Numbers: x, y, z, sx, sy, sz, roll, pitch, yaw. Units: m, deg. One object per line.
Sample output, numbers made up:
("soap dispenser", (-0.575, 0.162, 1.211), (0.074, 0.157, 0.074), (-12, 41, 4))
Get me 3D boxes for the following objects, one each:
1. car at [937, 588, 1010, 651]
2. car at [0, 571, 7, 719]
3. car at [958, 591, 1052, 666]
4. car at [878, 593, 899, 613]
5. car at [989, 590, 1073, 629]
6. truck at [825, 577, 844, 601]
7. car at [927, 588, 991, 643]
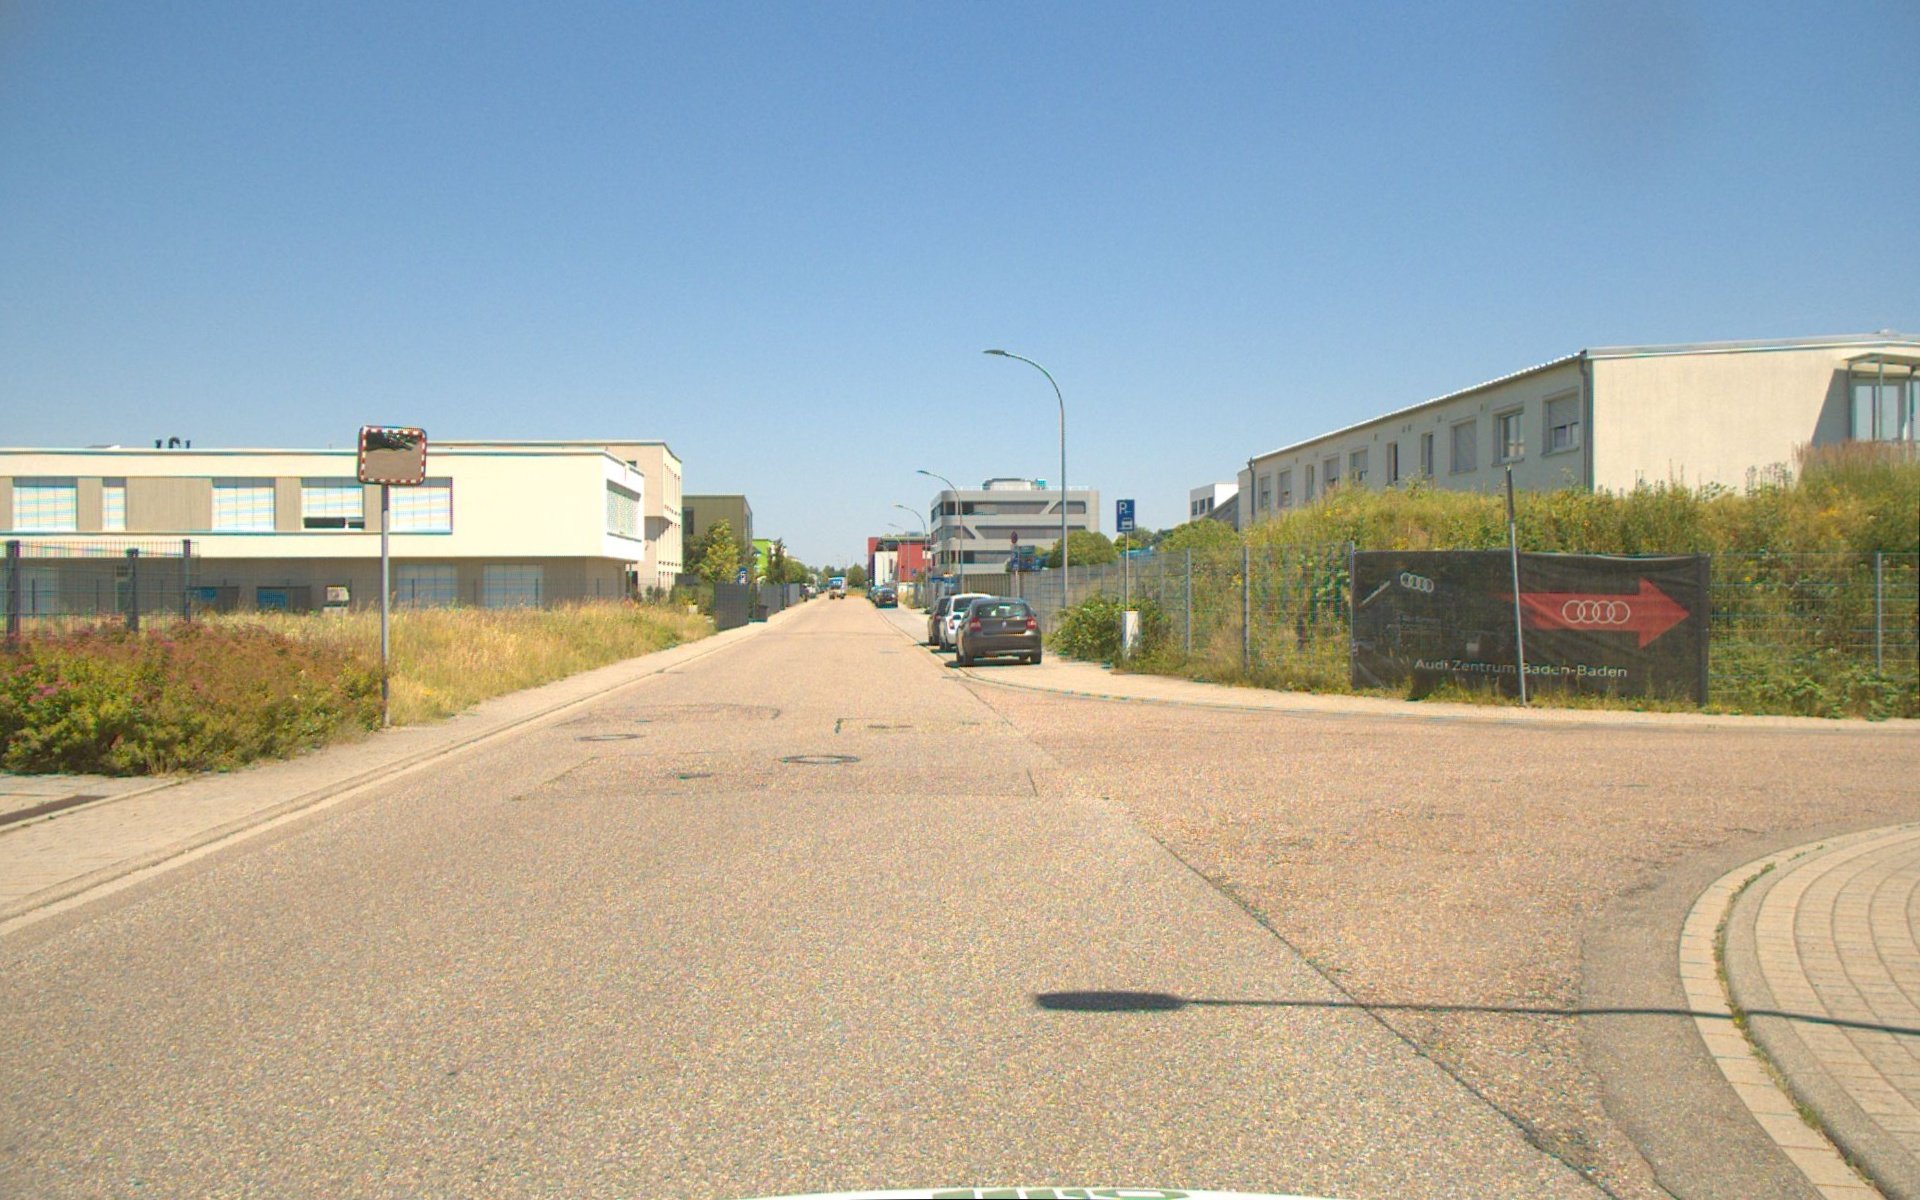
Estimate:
("car", (0.326, 0.498, 45.807), (1.869, 1.573, 3.999), (-2, 1, -1))
("car", (-10.715, 0.498, 15.830), (1.667, 1.547, 2.994), (-1, 1, -6))
("car", (0.942, 0.587, 36.598), (1.869, 1.473, 3.999), (-2, 1, -1))
("car", (-6.329, 0.262, 146.880), (1.741, 1.758, 3.997), (1, 0, -4))
("car", (3.953, 0.529, 93.024), (4.531, 2.049, 2.606), (1, 0, -1))
("truck", (-19.633, -1.773, 258.908), (2.549, 3.606, 10.488), (-2, 1, -6))
("car", (-0.062, 0.464, 51.744), (1.869, 1.573, 3.999), (-2, 1, -1))
